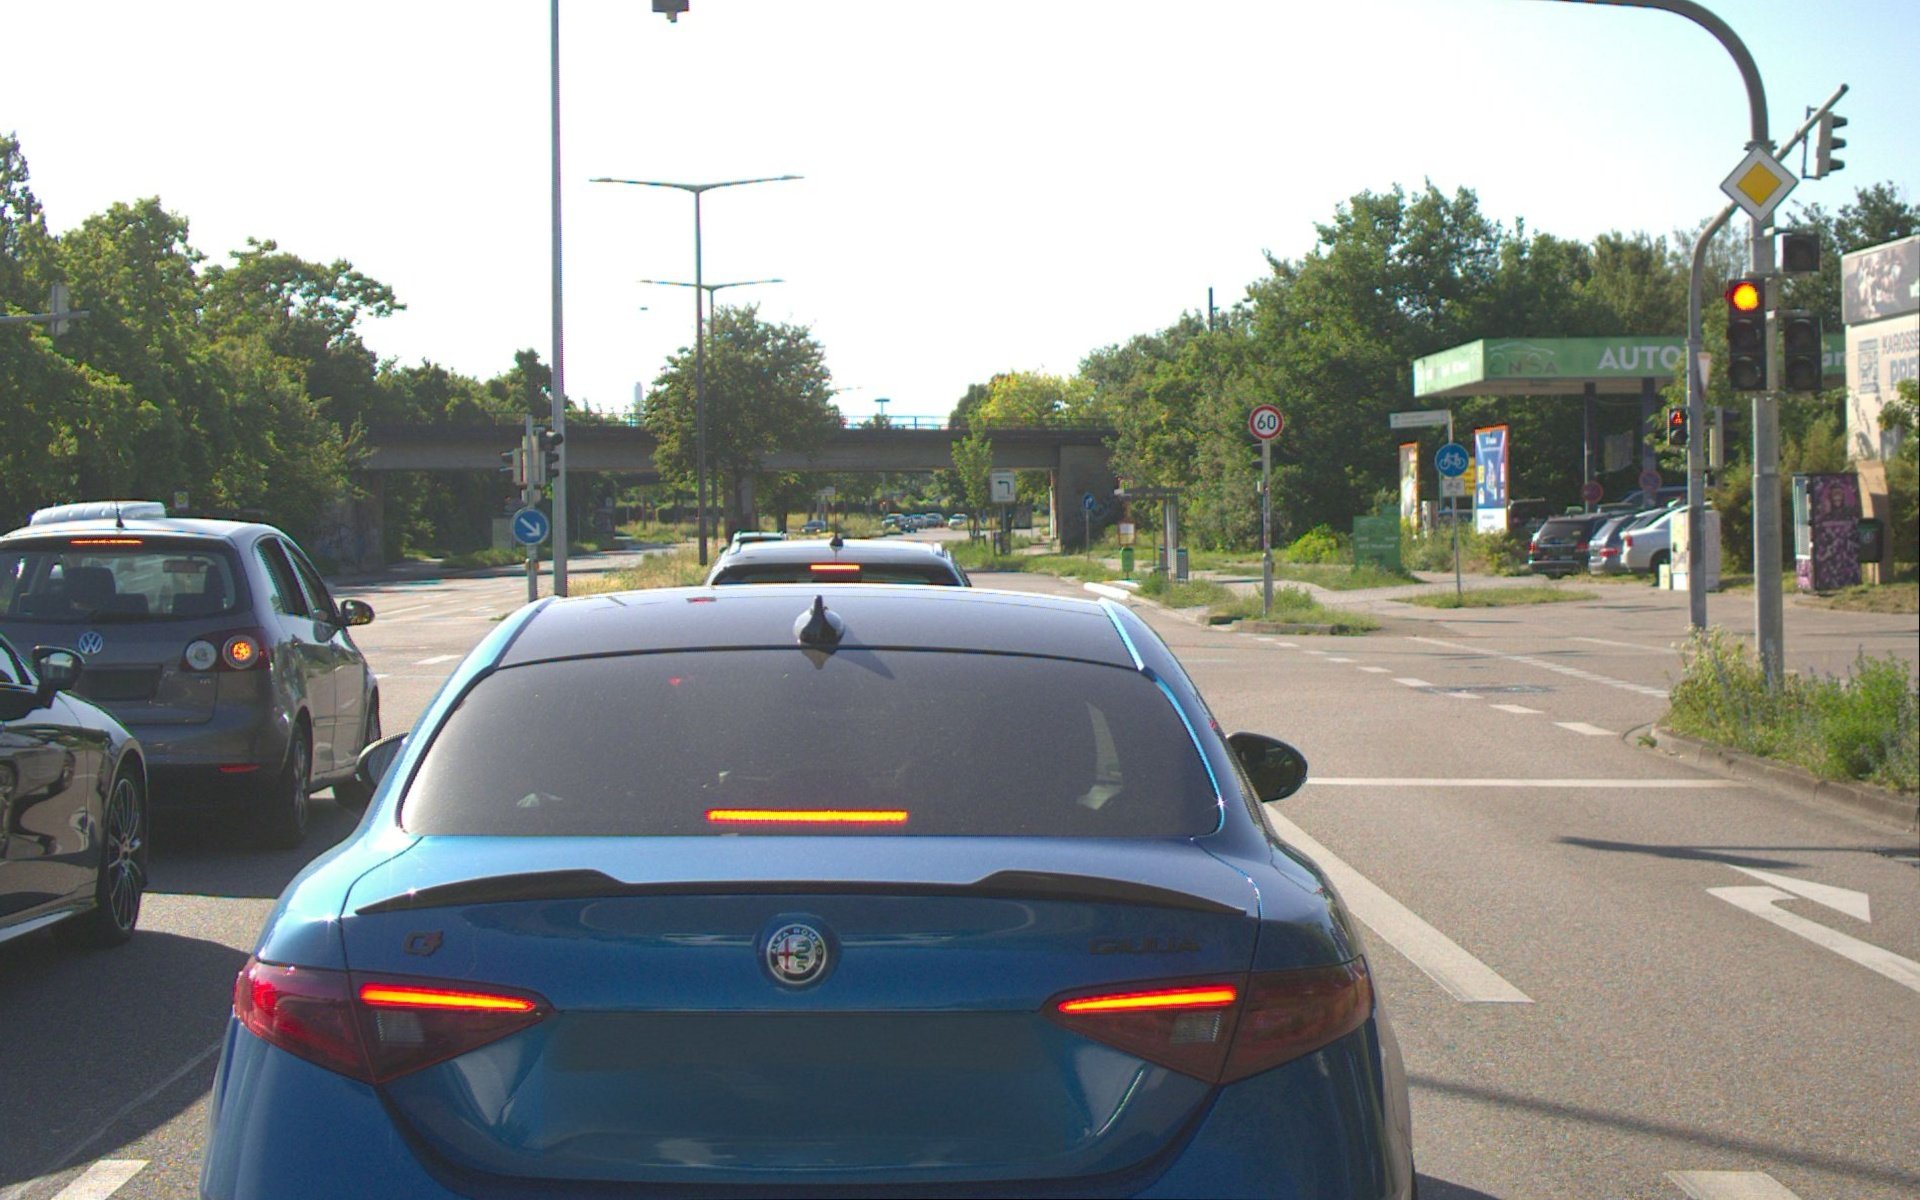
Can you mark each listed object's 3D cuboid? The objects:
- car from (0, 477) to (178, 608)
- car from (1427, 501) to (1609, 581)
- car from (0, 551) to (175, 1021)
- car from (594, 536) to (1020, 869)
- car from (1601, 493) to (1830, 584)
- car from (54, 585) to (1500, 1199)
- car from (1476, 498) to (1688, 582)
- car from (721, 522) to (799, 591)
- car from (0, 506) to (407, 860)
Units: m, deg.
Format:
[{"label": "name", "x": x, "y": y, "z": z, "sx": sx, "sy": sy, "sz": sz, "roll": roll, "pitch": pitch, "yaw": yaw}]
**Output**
[{"label": "car", "x": -17.069, "y": -1.139, "z": 66.857, "sx": 2.431, "sy": 2.418, "sz": 5.831, "roll": 0, "pitch": 1, "yaw": -1}, {"label": "car", "x": 12.026, "y": -1.276, "z": 74.148, "sx": 3.483, "sy": 1.700, "sz": 1.696, "roll": -1, "pitch": 1, "yaw": -16}, {"label": "car", "x": -3.804, "y": 0.573, "z": 10.636, "sx": 1.768, "sy": 1.409, "sz": 4.461, "roll": 0, "pitch": 1, "yaw": -1}, {"label": "car", "x": -0.697, "y": 0.414, "z": 17.074, "sx": 1.866, "sy": 1.445, "sz": 3.932, "roll": 0, "pitch": 1, "yaw": -1}, {"label": "car", "x": 14.517, "y": -1.185, "z": 66.102, "sx": 3.986, "sy": 1.700, "sz": 1.696, "roll": -1, "pitch": 1, "yaw": -16}, {"label": "car", "x": -0.259, "y": 0.698, "z": 6.417, "sx": 1.866, "sy": 1.380, "sz": 3.932, "roll": 0, "pitch": 1, "yaw": -1}, {"label": "car", "x": 12.827, "y": -1.239, "z": 70.957, "sx": 3.986, "sy": 1.700, "sz": 1.696, "roll": -1, "pitch": 1, "yaw": -19}, {"label": "car", "x": -4.761, "y": -1.059, "z": 82.243, "sx": 1.818, "sy": 1.589, "sz": 4.051, "roll": 0, "pitch": 1, "yaw": -3}, {"label": "car", "x": -3.941, "y": 0.334, "z": 17.509, "sx": 1.648, "sy": 1.593, "sz": 3.932, "roll": 0, "pitch": 1, "yaw": -1}]
